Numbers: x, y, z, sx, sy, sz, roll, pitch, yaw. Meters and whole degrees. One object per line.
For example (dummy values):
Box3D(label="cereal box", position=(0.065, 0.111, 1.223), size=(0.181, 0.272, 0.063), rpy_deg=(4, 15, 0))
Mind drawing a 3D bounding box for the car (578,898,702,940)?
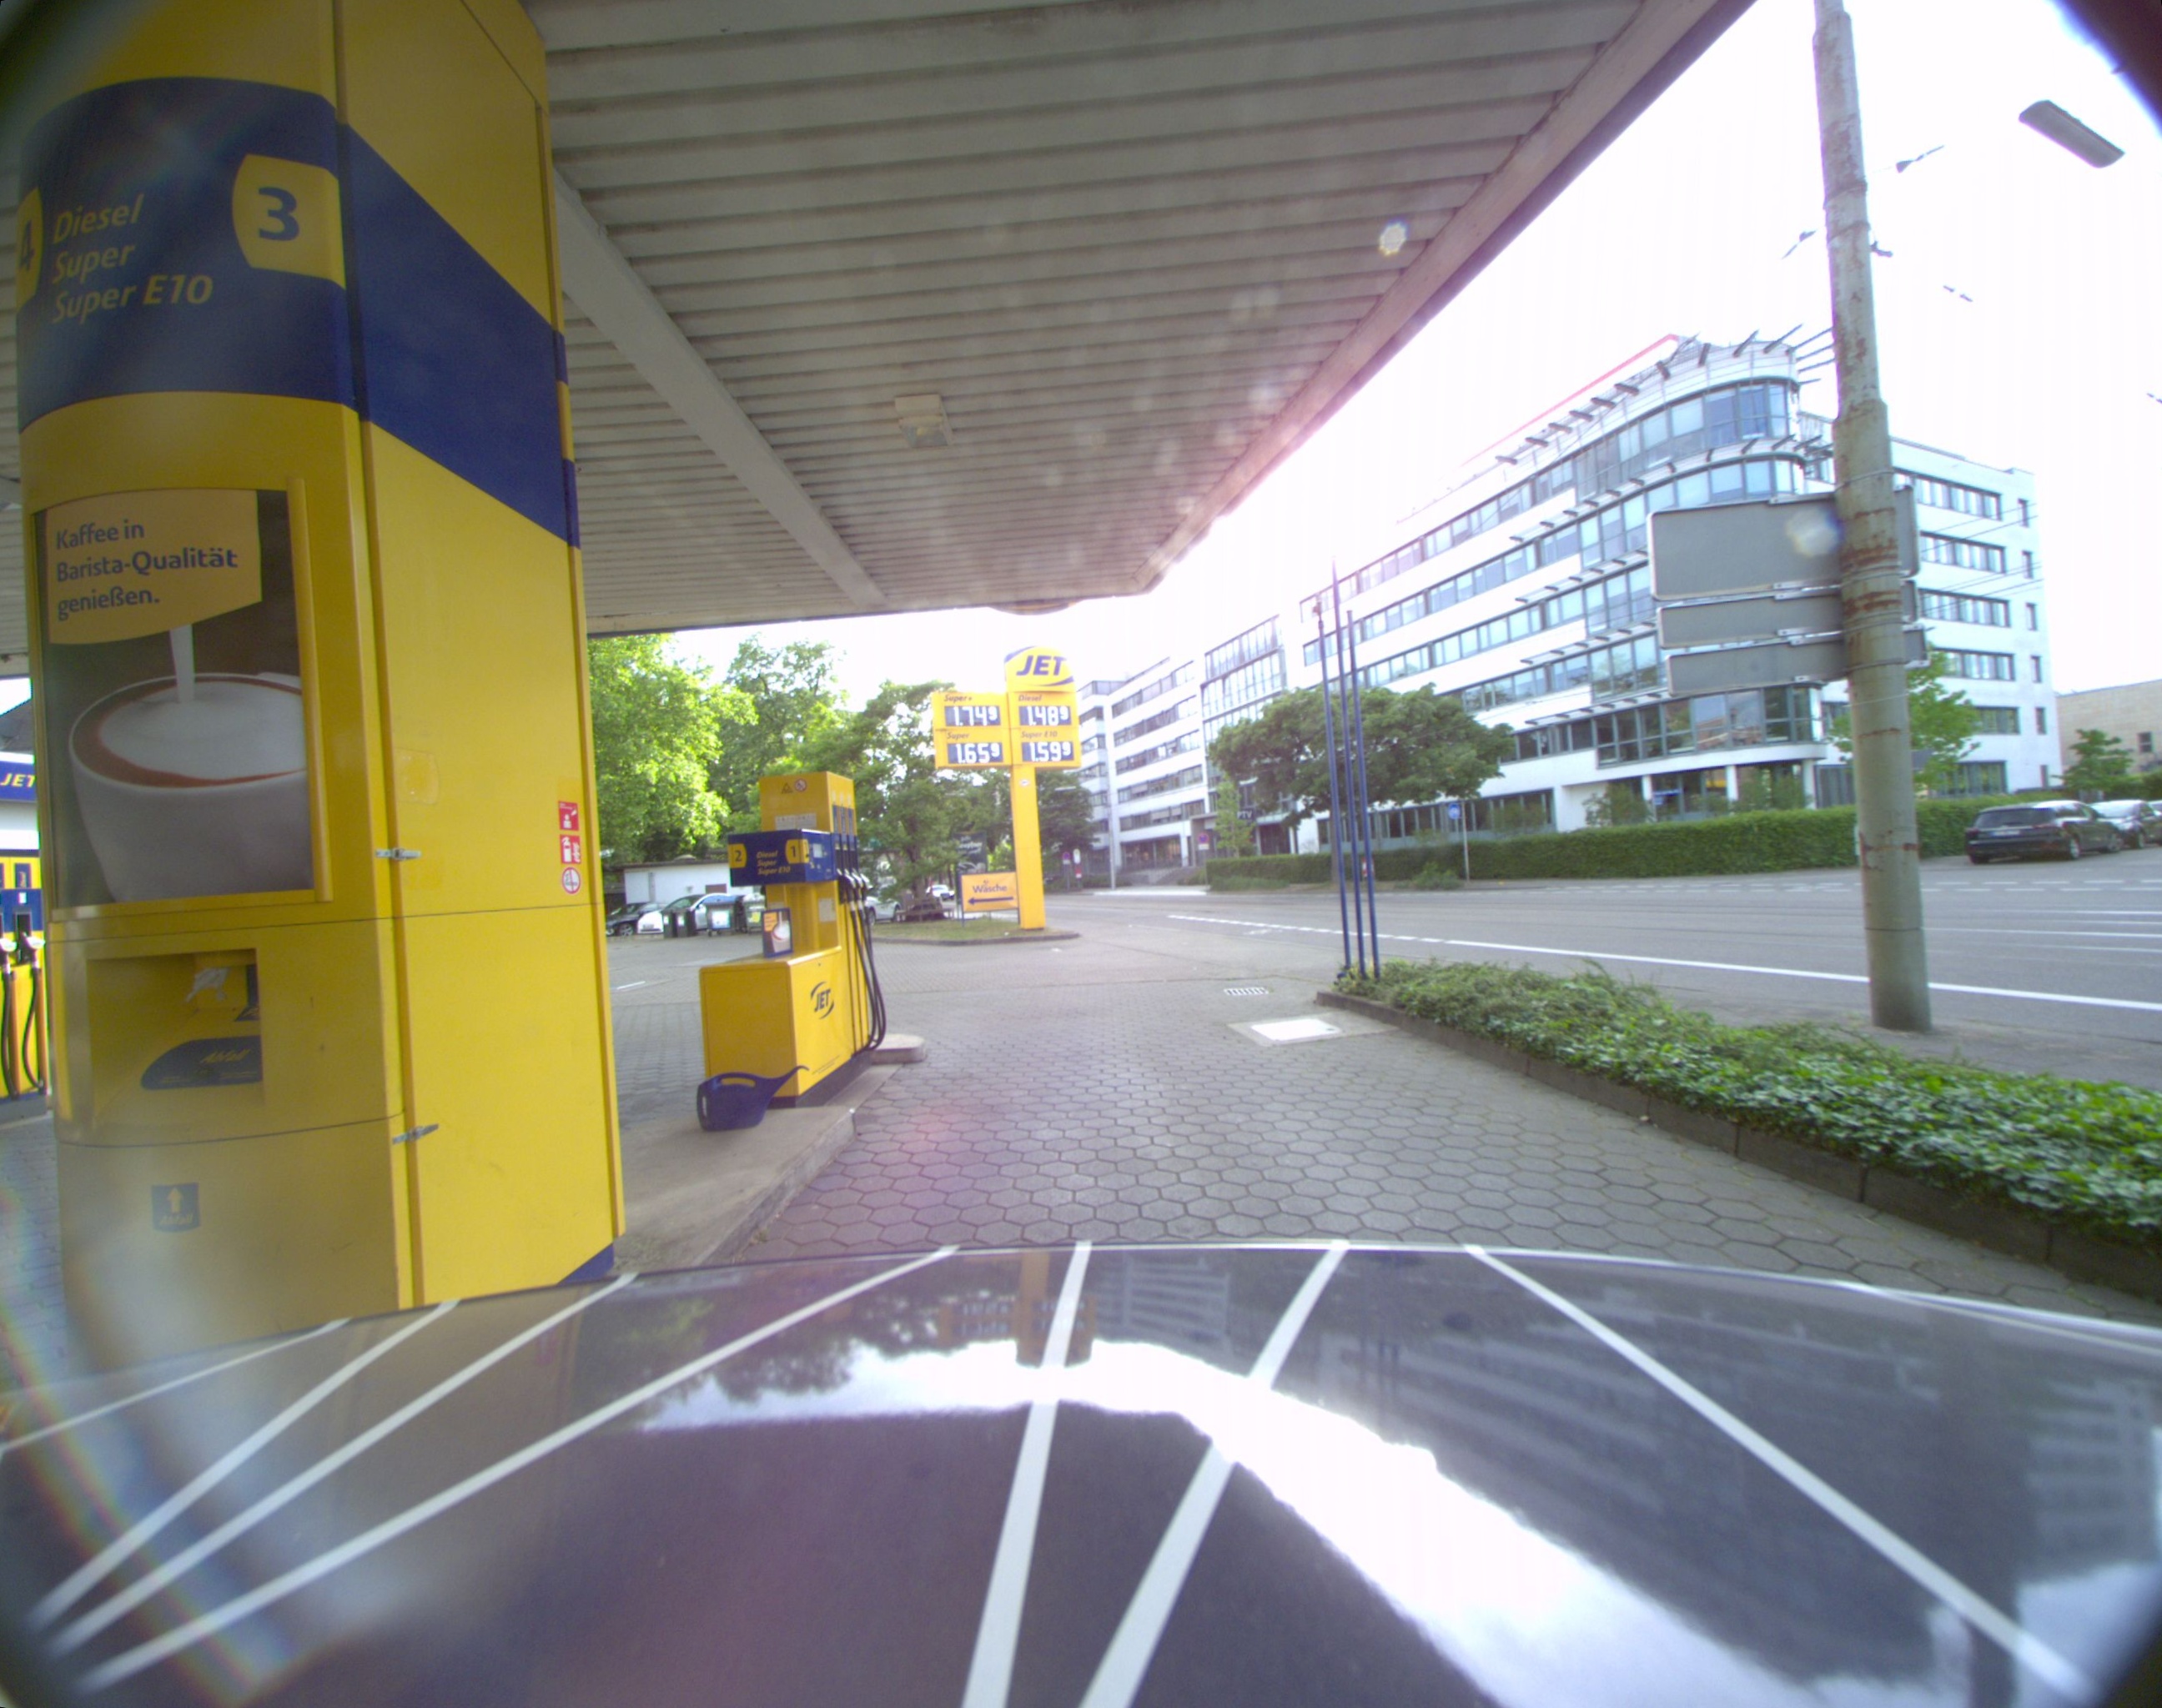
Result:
Box3D(label="car", position=(-17.792, 2.595, 30.905), size=(1.771, 1.367, 4.398), rpy_deg=(-2, -1, 14))

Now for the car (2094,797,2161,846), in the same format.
Box3D(label="car", position=(37.130, -1.195, 26.147), size=(4.296, 1.509, 1.945), rpy_deg=(-4, -1, -27))

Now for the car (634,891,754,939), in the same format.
Box3D(label="car", position=(-15.290, 2.369, 30.311), size=(1.771, 1.591, 4.398), rpy_deg=(-2, -1, 14))

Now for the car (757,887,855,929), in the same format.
Box3D(label="car", position=(-11.652, 2.272, 32.490), size=(1.771, 1.591, 4.400), rpy_deg=(-4, -4, 13))

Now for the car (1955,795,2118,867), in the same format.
Box3D(label="car", position=(27.277, -0.662, 21.691), size=(4.296, 1.681, 2.010), rpy_deg=(-4, -1, -27))

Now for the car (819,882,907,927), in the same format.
Box3D(label="car", position=(-8.634, 2.006, 30.499), size=(1.772, 1.591, 4.398), rpy_deg=(-4, -4, 6))

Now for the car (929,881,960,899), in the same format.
Box3D(label="car", position=(-12.324, 3.238, 68.544), size=(1.756, 1.460, 4.563), rpy_deg=(-4, -1, -22))

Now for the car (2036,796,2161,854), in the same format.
Box3D(label="car", position=(32.548, -0.939, 24.094), size=(4.296, 1.530, 1.945), rpy_deg=(-4, -1, -27))
